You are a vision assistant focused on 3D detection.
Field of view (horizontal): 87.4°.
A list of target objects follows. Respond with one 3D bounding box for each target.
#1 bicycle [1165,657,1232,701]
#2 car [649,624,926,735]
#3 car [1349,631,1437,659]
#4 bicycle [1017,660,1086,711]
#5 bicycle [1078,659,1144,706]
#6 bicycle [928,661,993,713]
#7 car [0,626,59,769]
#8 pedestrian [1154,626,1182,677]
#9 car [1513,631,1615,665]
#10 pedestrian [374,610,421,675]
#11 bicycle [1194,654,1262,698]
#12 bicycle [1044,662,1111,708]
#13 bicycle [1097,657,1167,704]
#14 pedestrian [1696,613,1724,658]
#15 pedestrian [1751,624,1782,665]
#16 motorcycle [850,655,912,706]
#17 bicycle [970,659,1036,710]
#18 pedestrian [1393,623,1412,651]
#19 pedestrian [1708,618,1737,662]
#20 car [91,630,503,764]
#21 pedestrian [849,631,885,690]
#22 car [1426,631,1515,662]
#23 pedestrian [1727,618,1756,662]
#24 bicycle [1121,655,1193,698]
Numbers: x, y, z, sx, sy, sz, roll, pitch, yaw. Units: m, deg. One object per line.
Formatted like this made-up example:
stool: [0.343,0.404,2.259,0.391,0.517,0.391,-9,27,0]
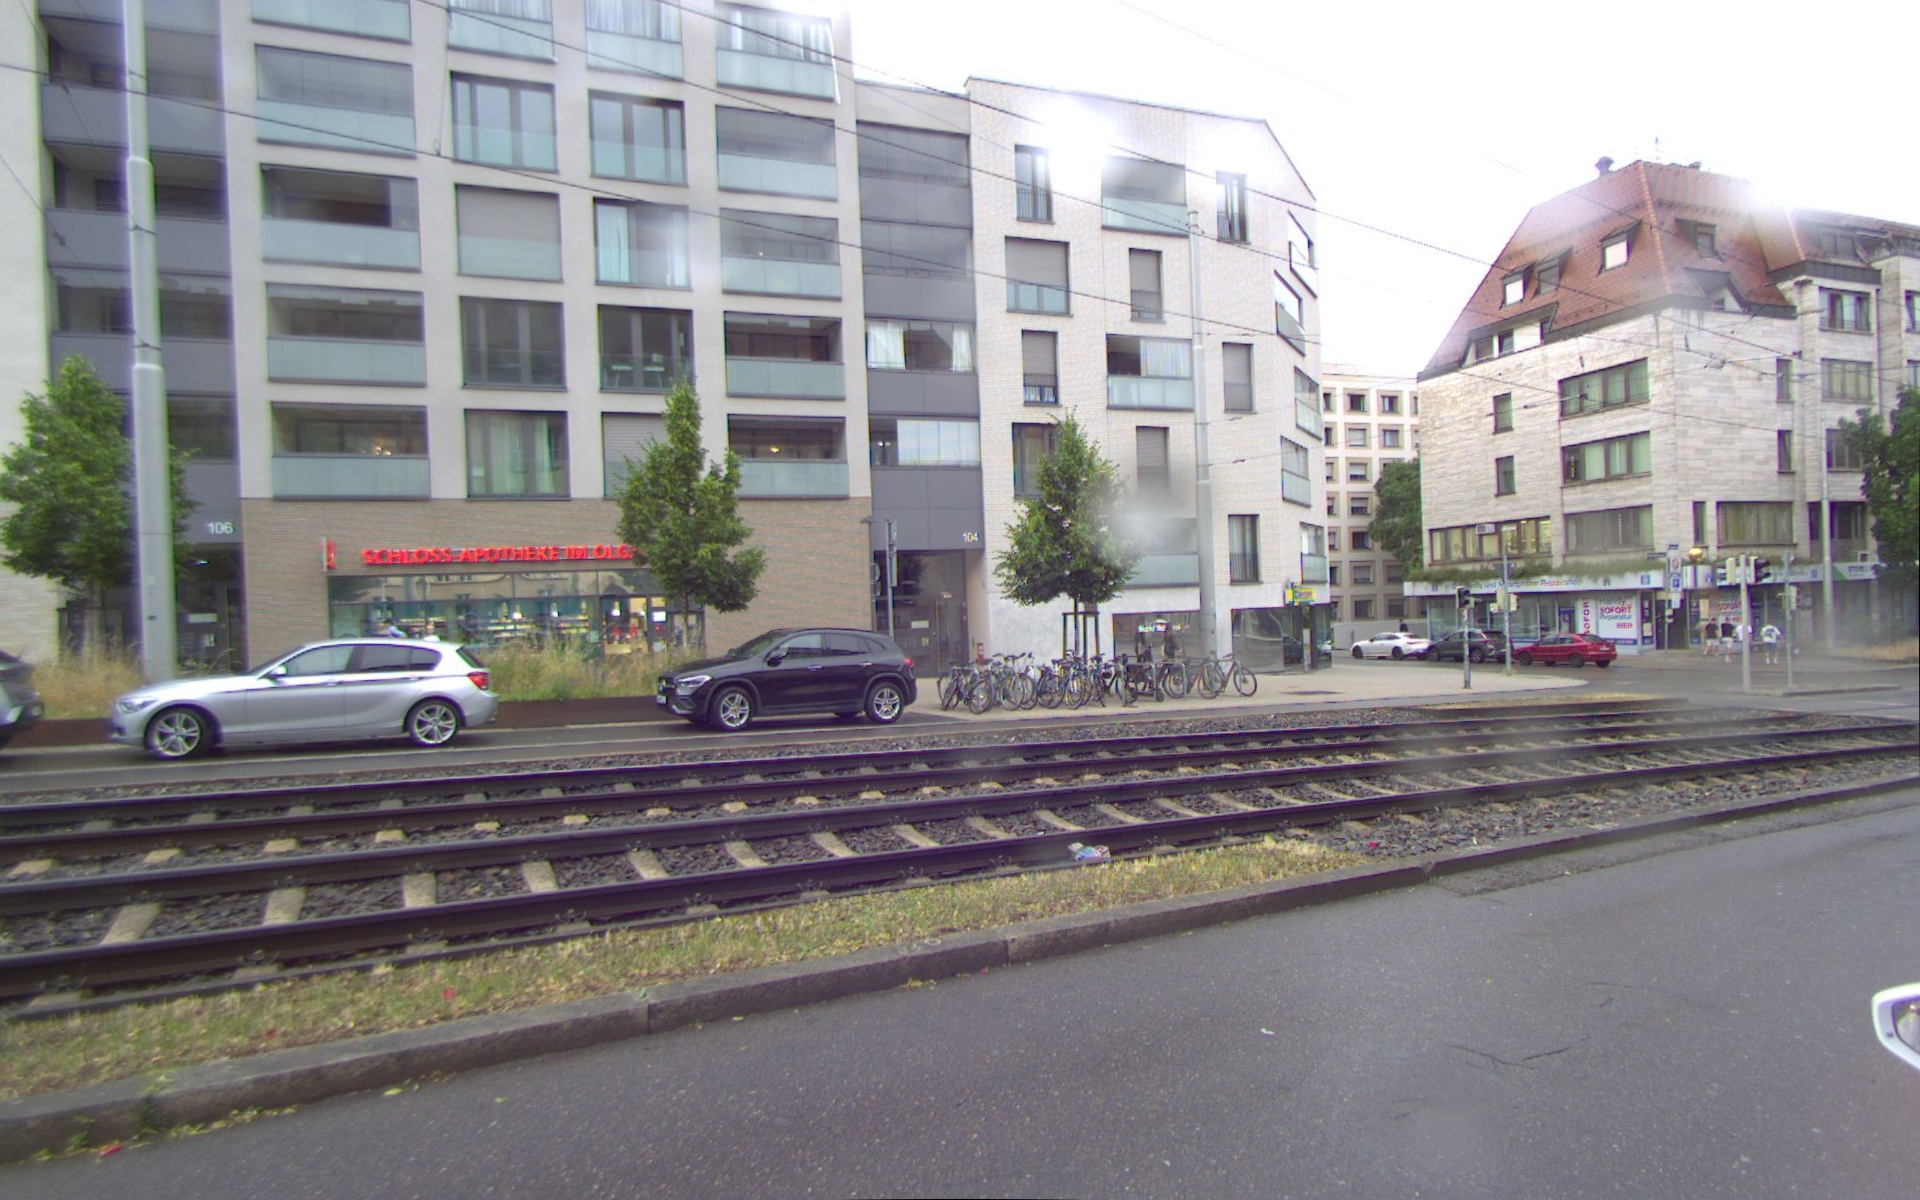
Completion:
bicycle: [5.672,1.860,23.984,0.383,0.888,1.774,1,0,-31]
car: [-2.837,1.257,16.863,4.280,1.625,1.671,2,-1,-31]
car: [22.364,2.303,52.048,1.570,1.335,4.482,1,-2,-20]
bicycle: [1.890,1.754,20.930,0.383,0.930,1.772,1,-1,-34]
bicycle: [3.355,1.822,22.453,0.383,0.930,1.772,1,-1,-34]
bicycle: [-0.004,1.734,20.238,0.383,0.930,1.772,1,-1,-34]
car: [-12.540,1.056,10.815,4.010,1.550,1.669,2,-1,-35]
pedestrian: [6.635,1.625,32.060,0.637,1.590,0.775,0,-1,33]
car: [25.748,2.036,42.945,1.568,1.335,3.693,1,-2,-17]
pedestrian: [-13.011,0.983,23.237,0.790,1.468,0.656,2,0,-18]
bicycle: [6.589,1.858,24.780,0.436,0.993,1.773,1,-2,-34]
bicycle: [2.526,1.818,21.757,0.383,0.929,1.773,1,-3,-34]
bicycle: [3.945,1.829,23.167,0.384,0.930,1.770,1,0,-38]
pedestrian: [31.551,1.475,42.258,0.674,1.867,0.646,1,1,-22]
pedestrian: [31.871,1.749,39.698,0.674,1.569,0.646,1,0,-22]
motorcycle: [-1.728,1.726,21.754,0.537,1.056,1.748,3,-4,-33]
bicycle: [0.865,1.726,20.670,0.383,0.930,1.772,1,-1,-34]
pedestrian: [24.881,2.084,56.521,0.640,1.569,0.680,1,0,-22]
pedestrian: [31.147,1.631,41.020,0.674,1.772,0.646,1,0,-22]
car: [-8.478,1.177,13.277,4.280,1.484,1.671,2,-1,-31]
pedestrian: [-2.402,1.551,25.873,0.790,1.468,0.538,2,0,-18]
car: [24.095,2.183,47.550,1.570,1.335,3.689,1,-2,-20]
pedestrian: [31.400,1.610,40.361,0.674,1.747,0.646,1,0,-22]
bicycle: [4.709,1.820,24.119,1.764,0.930,0.385,0,-1,44]
